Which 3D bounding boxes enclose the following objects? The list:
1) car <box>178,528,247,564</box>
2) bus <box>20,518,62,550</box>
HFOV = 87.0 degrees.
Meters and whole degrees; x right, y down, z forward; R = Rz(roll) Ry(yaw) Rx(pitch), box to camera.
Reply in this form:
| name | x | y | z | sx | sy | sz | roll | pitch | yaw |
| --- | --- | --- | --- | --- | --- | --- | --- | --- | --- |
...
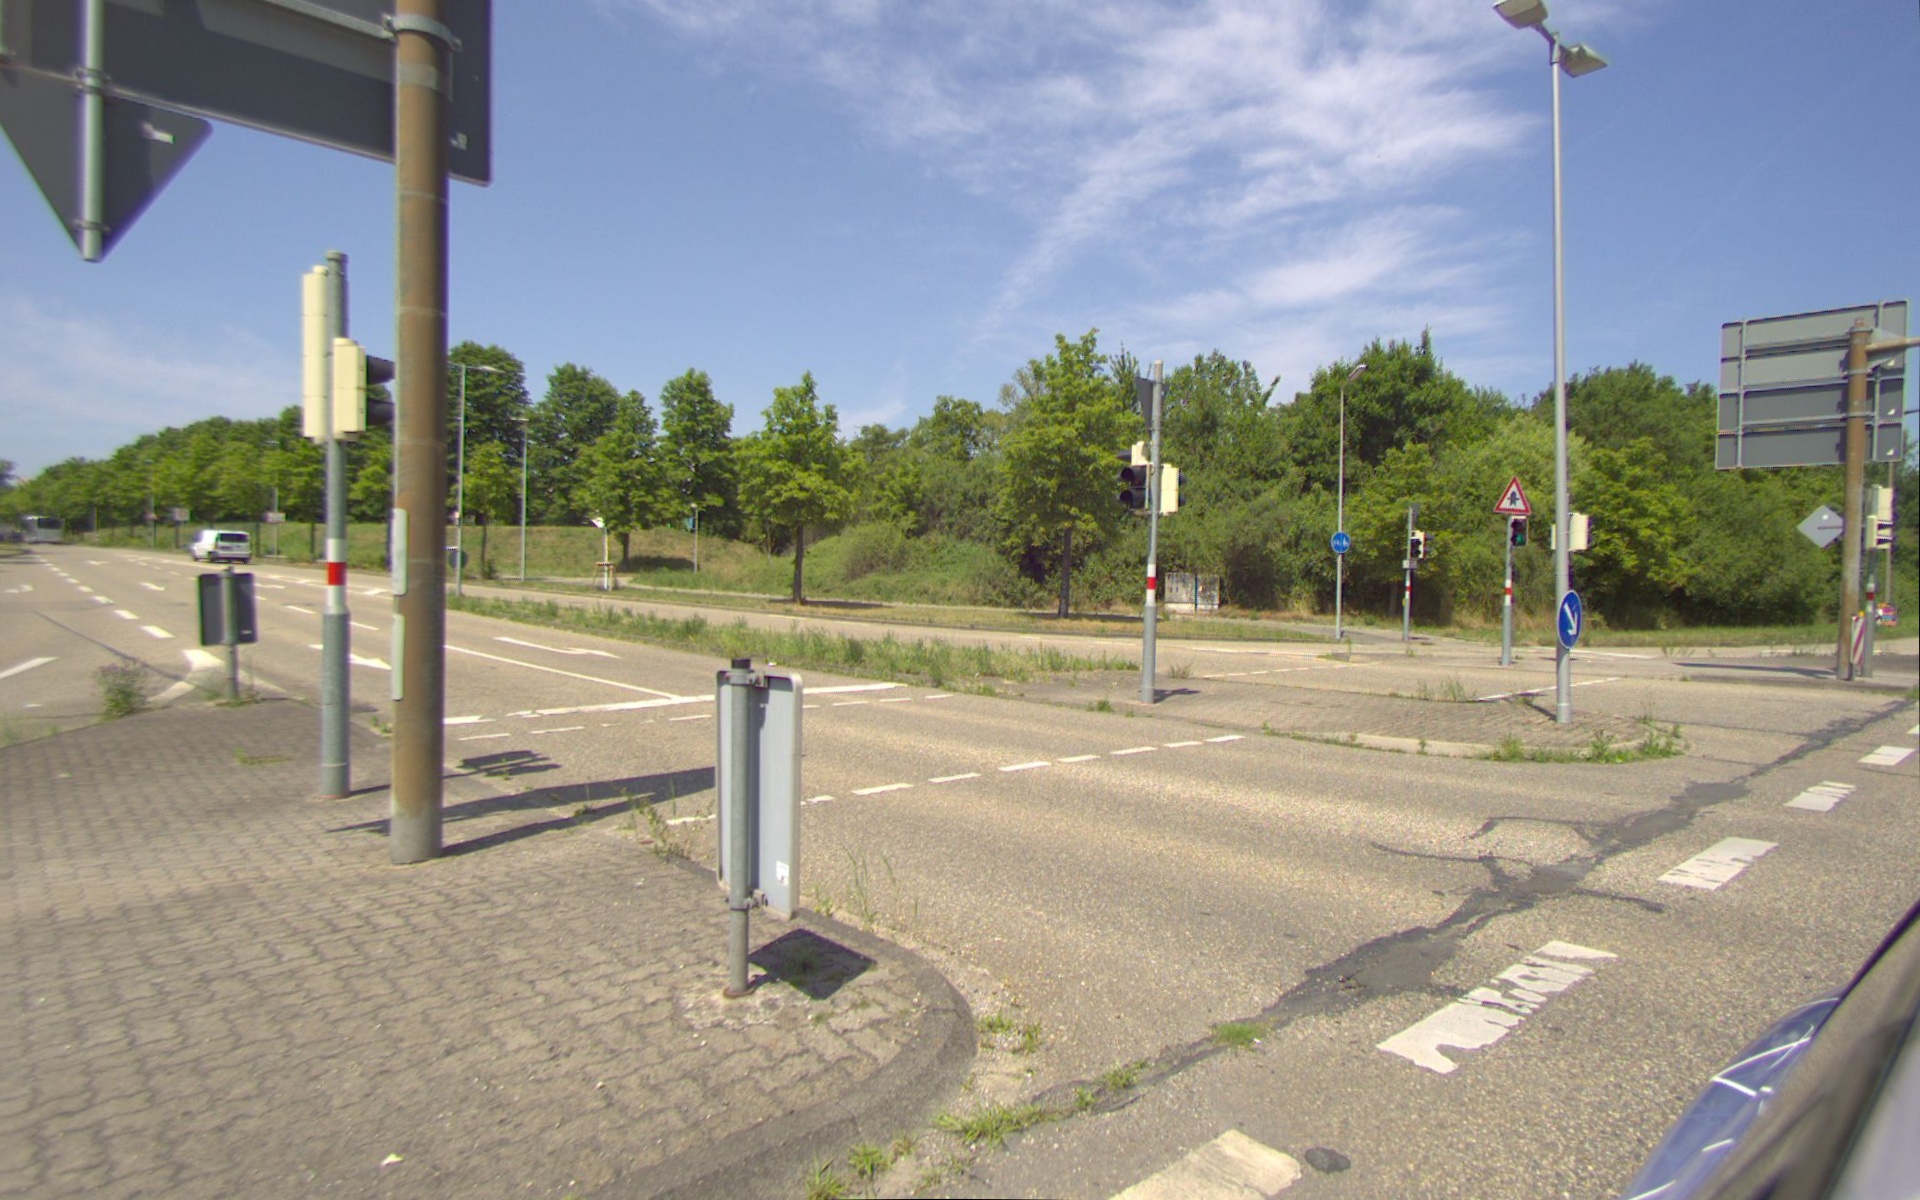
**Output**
| name | x | y | z | sx | sy | sz | roll | pitch | yaw |
| --- | --- | --- | --- | --- | --- | --- | --- | --- | --- |
| car | -42.589 | -3.071 | 57.638 | 4.881 | 1.840 | 1.841 | 4 | 2 | 37 |
| bus | -102.024 | -7.245 | 112.304 | 12.042 | 3.125 | 2.590 | 2 | 1 | 44 |
